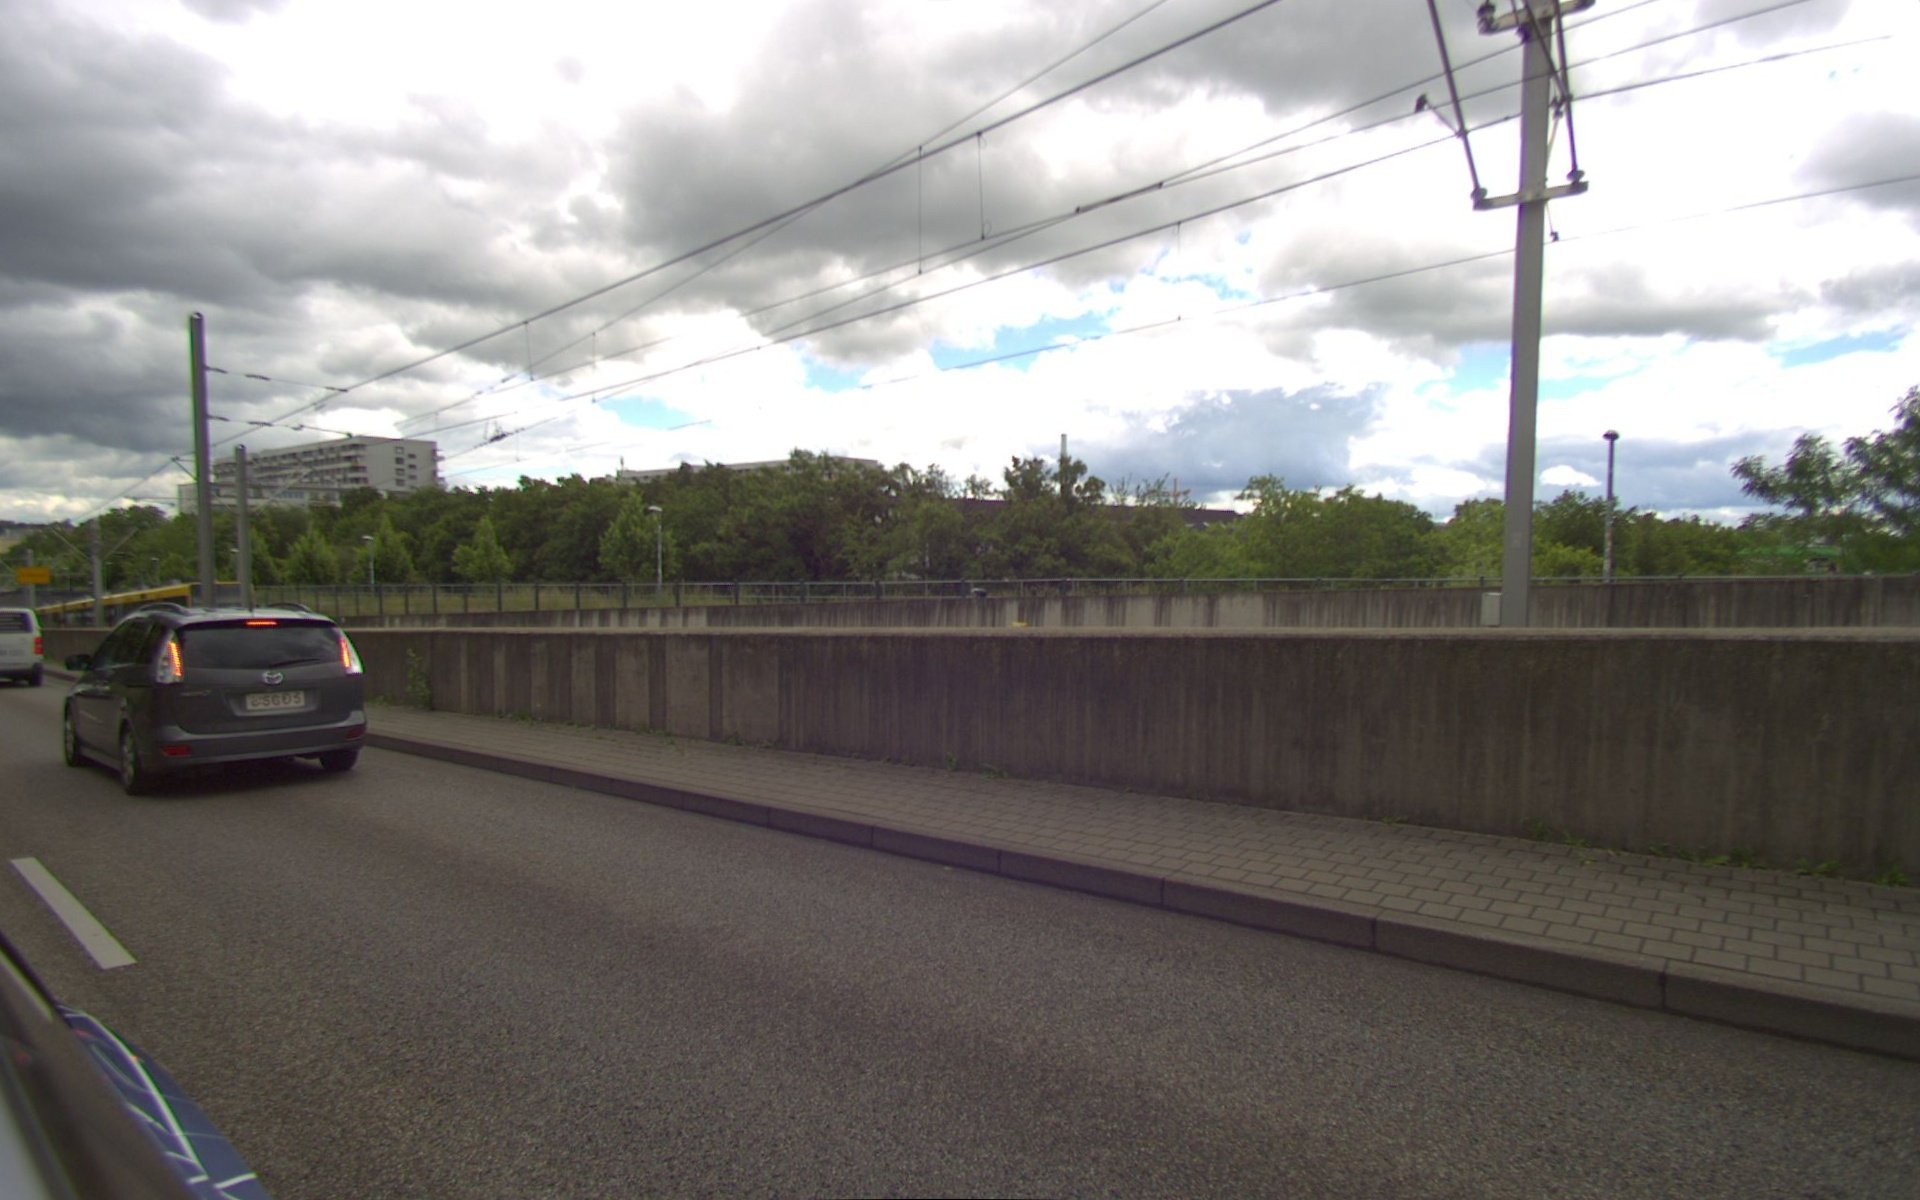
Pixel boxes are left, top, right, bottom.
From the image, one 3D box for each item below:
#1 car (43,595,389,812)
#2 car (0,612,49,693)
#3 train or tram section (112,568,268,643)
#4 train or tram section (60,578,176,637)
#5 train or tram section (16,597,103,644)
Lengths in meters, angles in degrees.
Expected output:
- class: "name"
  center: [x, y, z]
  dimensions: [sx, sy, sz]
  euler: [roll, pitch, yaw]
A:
- class: "car"
  center: [-7.438, 0.842, 9.958]
  dimensions: [4.242, 1.670, 1.804]
  euler: [-1, 0, 40]
- class: "car"
  center: [-23.730, 1.212, 24.477]
  dimensions: [4.902, 1.847, 1.877]
  euler: [-1, -2, 40]
- class: "train or tram section"
  center: [-38.510, 0.308, 50.094]
  dimensions: [18.469, 3.217, 2.751]
  euler: [-1, 0, 42]
- class: "train or tram section"
  center: [-52.278, 0.495, 62.480]
  dimensions: [18.467, 3.217, 2.752]
  euler: [-1, 0, 42]
- class: "train or tram section"
  center: [-68.461, 1.541, 76.683]
  dimensions: [19.909, 3.239, 2.706]
  euler: [-1, -1, 42]
